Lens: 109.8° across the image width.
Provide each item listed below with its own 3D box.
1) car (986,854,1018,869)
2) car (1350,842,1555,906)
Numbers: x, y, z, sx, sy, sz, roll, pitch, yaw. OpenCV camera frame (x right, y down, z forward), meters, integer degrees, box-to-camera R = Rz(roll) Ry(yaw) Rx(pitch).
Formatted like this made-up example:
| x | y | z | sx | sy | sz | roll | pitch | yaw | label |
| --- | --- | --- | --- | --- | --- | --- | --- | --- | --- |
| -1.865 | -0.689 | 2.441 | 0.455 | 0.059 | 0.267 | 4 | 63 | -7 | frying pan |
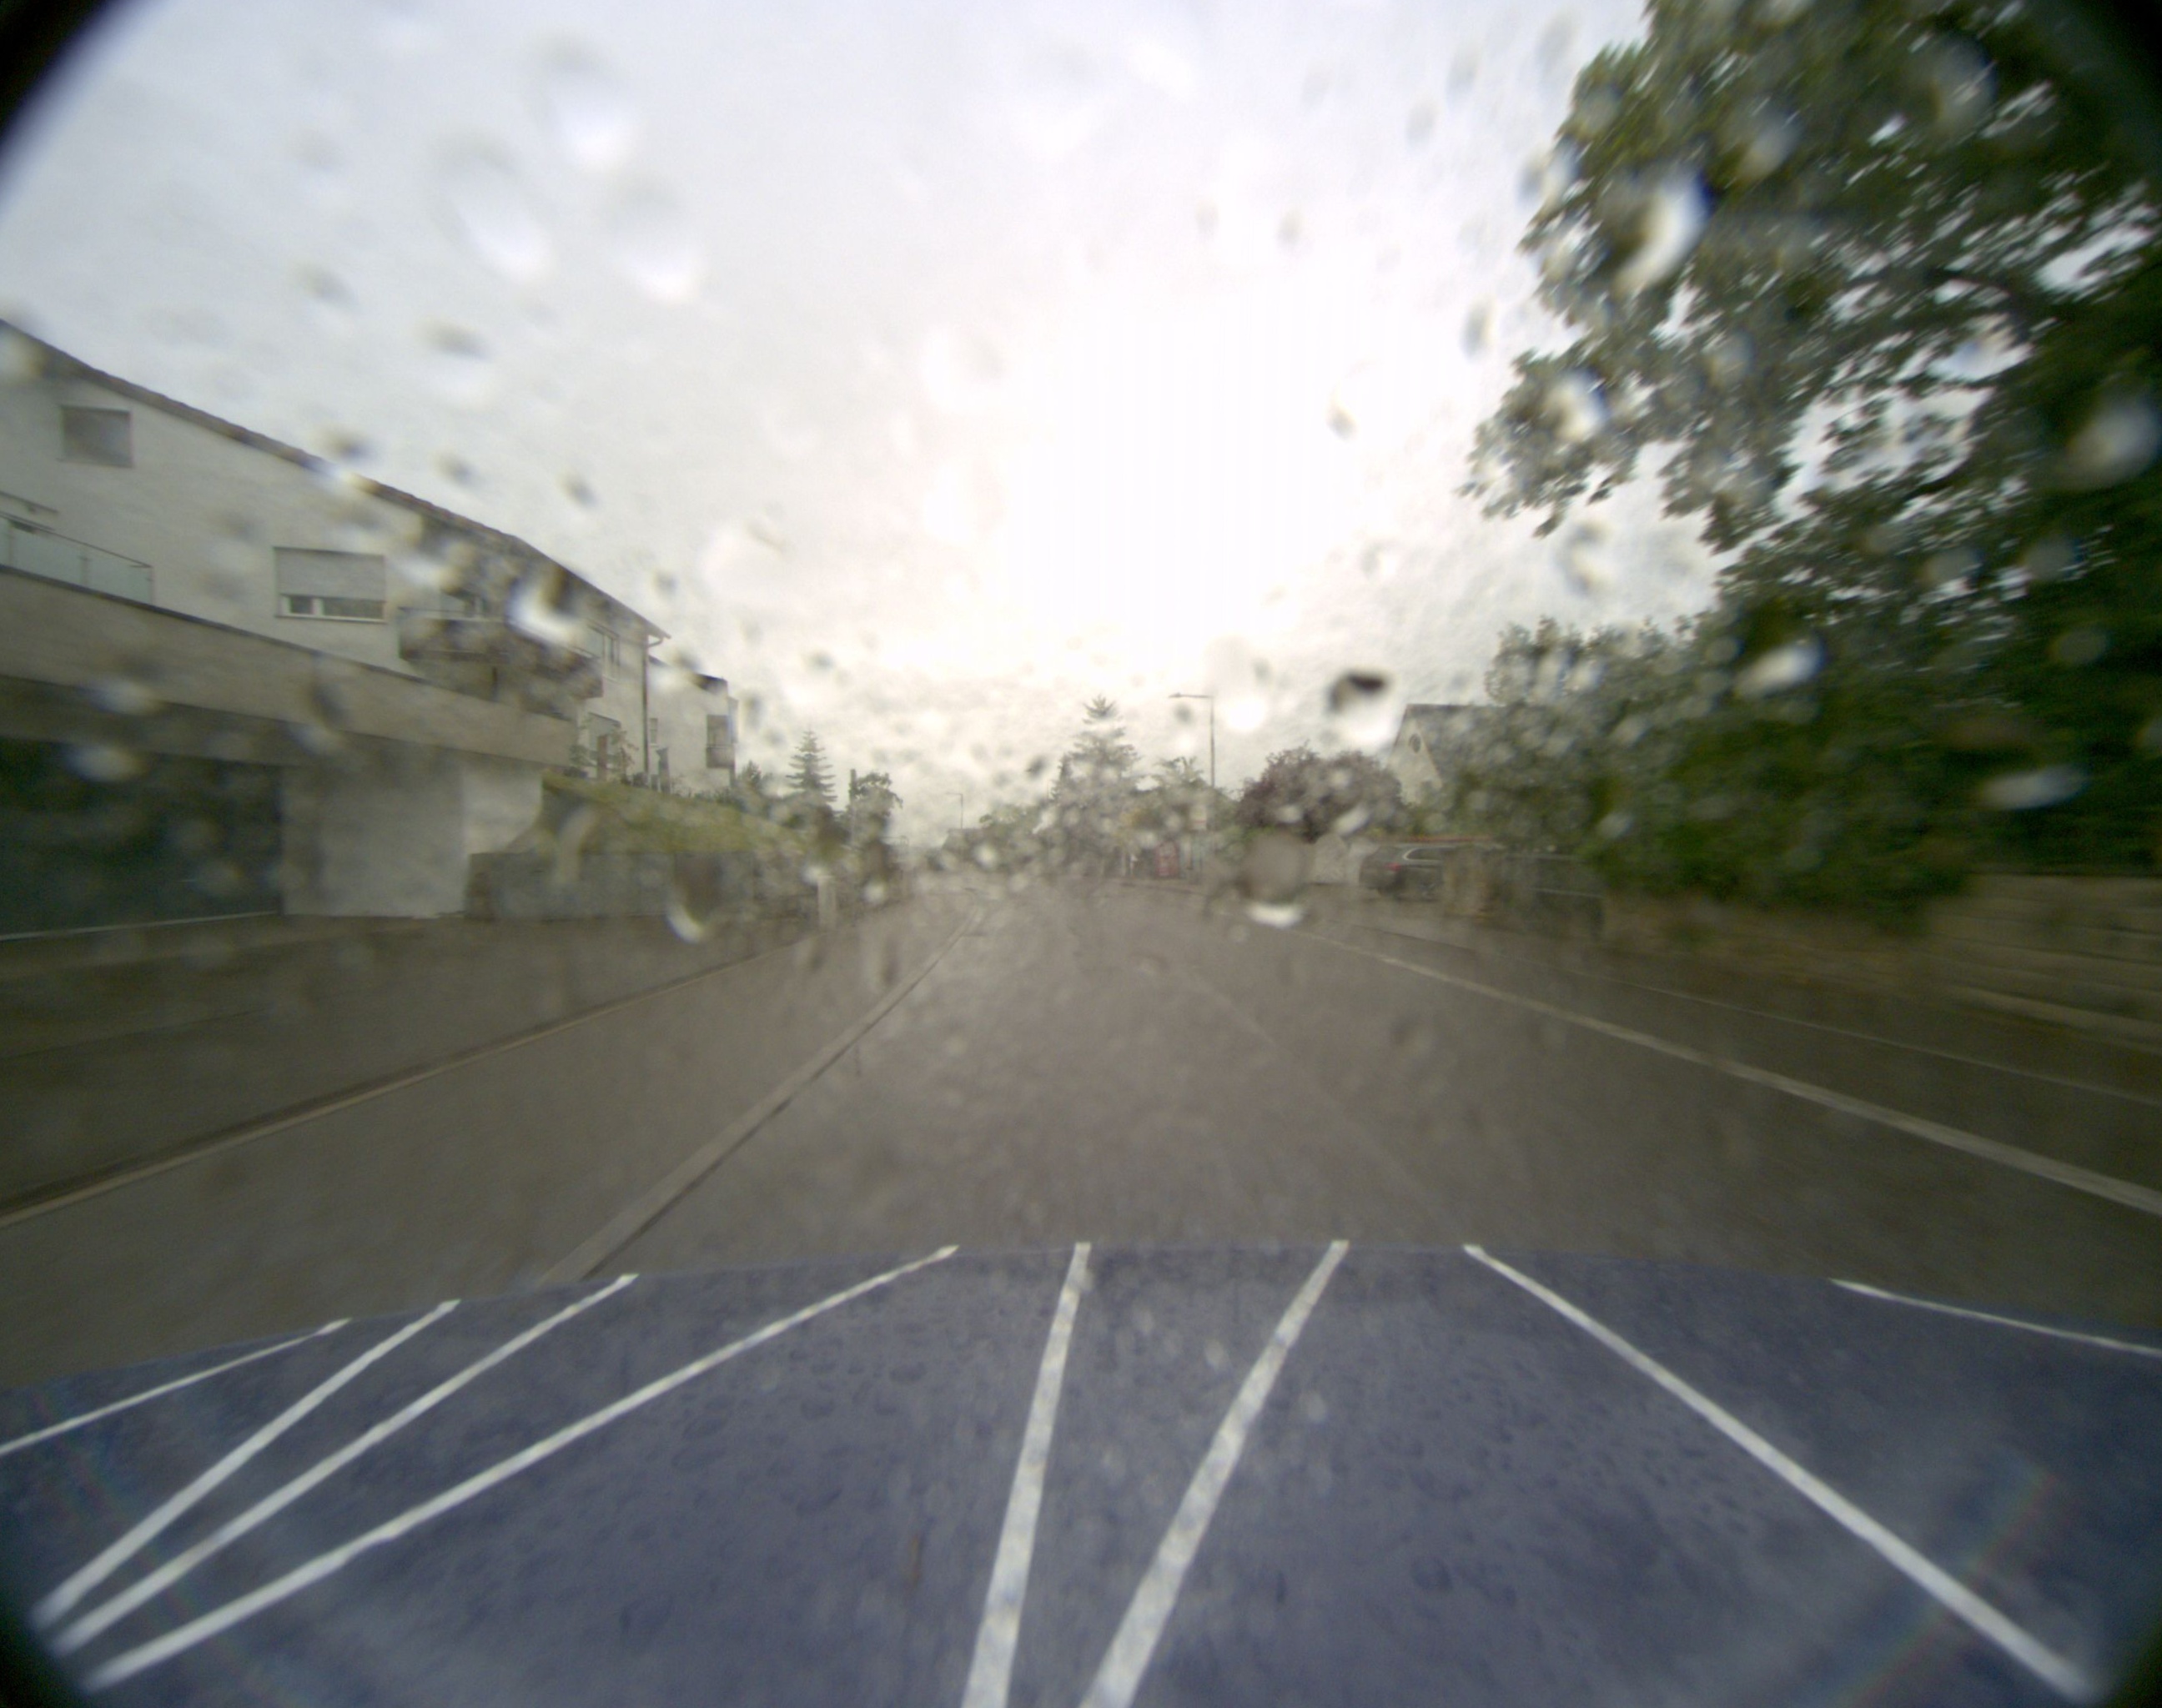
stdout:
| x | y | z | sx | sy | sz | roll | pitch | yaw | label |
| --- | --- | --- | --- | --- | --- | --- | --- | --- | --- |
| -7.931 | 0.722 | 76.353 | 3.037 | 1.471 | 1.455 | -1 | 0 | 3 | car |
| 9.639 | 0.496 | 19.869 | 4.555 | 1.467 | 1.838 | -1 | 0 | -9 | car |
